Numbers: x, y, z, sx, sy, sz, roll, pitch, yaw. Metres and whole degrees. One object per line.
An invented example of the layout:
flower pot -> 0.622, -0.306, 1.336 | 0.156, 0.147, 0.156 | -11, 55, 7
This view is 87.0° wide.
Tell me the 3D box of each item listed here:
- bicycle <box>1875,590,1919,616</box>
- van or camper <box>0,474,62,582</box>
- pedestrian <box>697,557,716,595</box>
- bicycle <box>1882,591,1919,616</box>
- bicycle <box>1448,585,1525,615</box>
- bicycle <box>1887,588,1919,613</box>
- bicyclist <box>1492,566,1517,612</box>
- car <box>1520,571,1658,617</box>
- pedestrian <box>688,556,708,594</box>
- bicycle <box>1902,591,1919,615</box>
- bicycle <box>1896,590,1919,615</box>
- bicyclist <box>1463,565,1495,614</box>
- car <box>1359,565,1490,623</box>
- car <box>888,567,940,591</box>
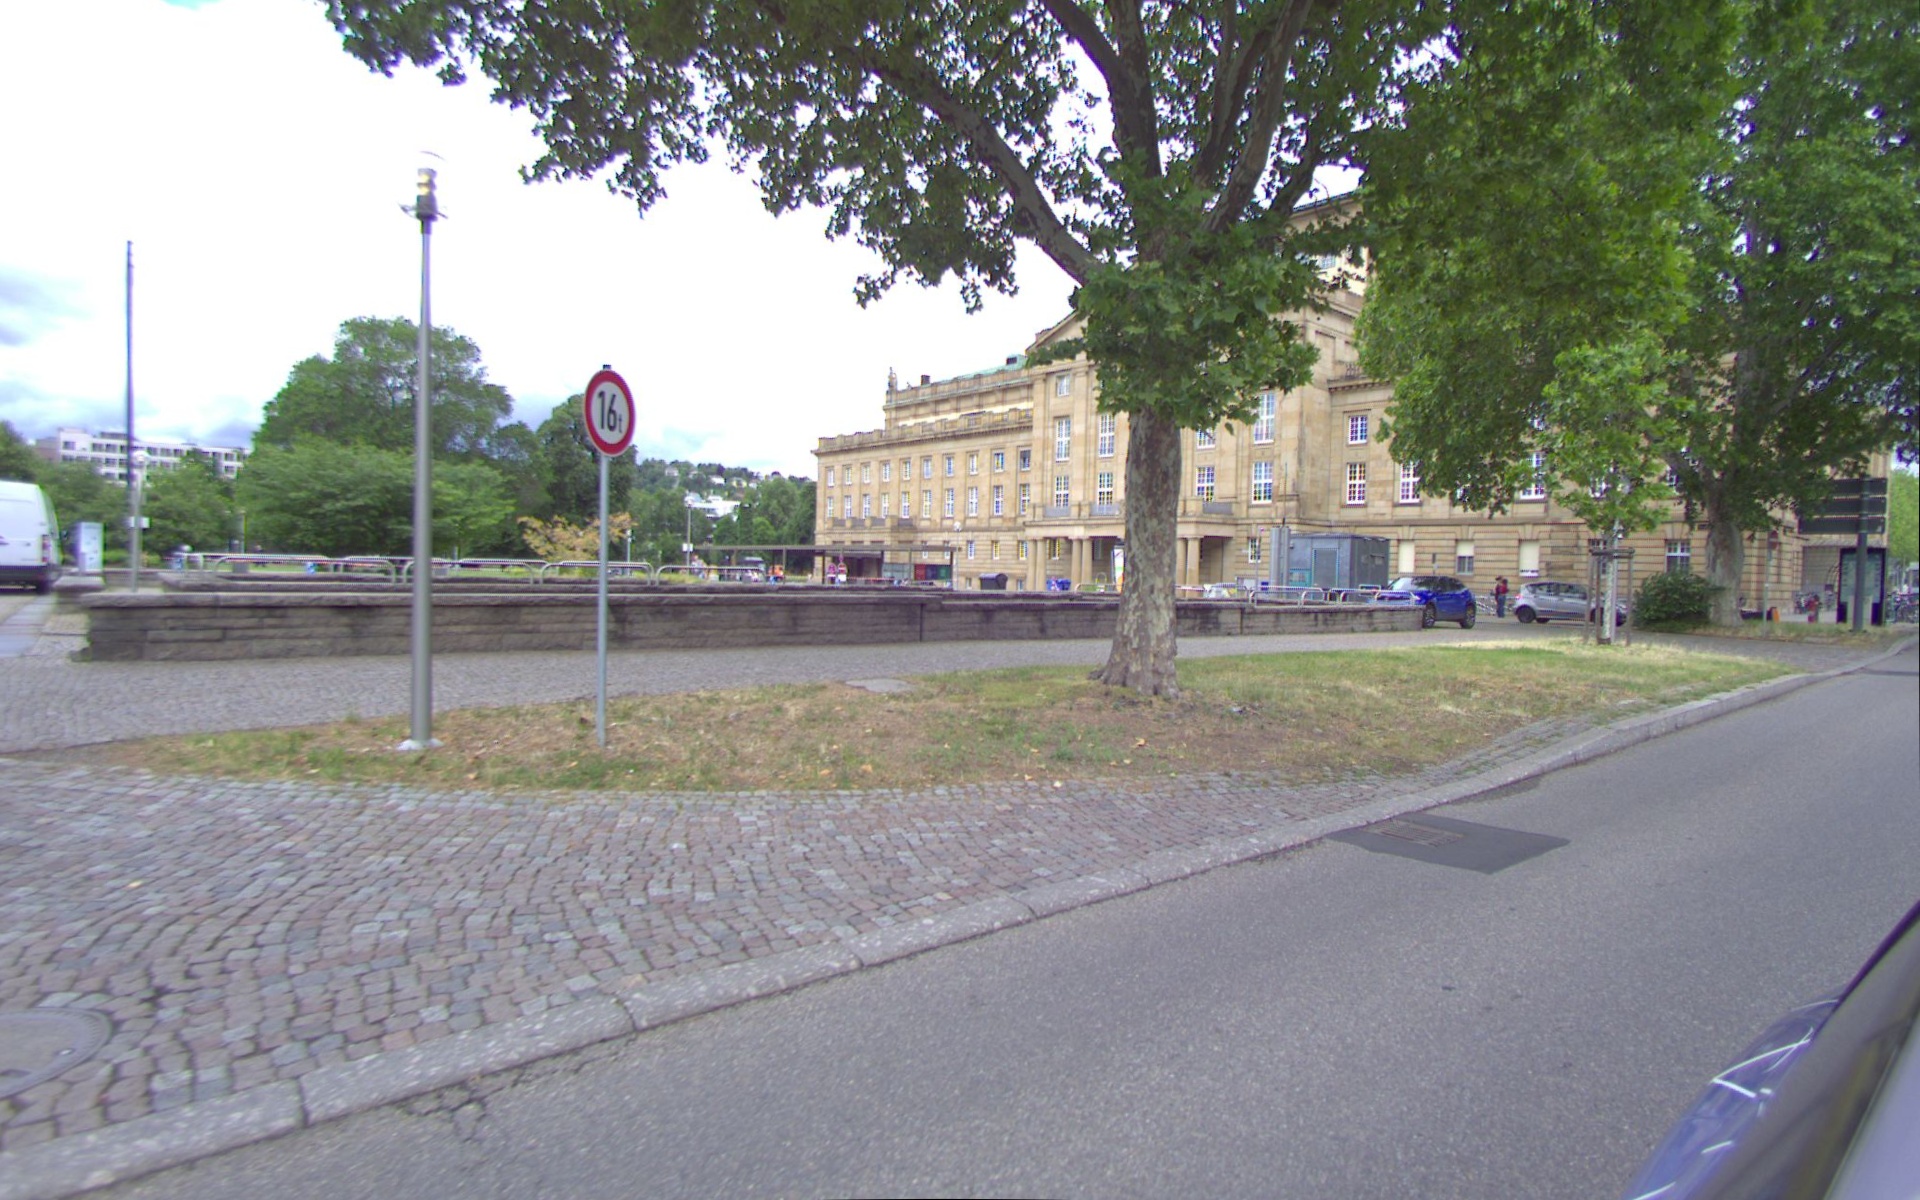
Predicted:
bicycle -> 41.473, 0.134, 44.398 | 1.912, 1.112, 0.533 | 2, 2, 42
van or camper -> -23.044, -1.613, 24.046 | 2.280, 2.348, 5.709 | -2, 2, -40
pedestrian -> -13.821, -1.292, 55.213 | 0.799, 2.039, 0.768 | -2, 1, -30
bicycle -> 42.046, 0.157, 44.750 | 1.834, 1.085, 0.610 | 2, 2, 42
bicycle -> 22.648, -0.033, 43.560 | 2.824, 1.199, 1.085 | 2, 2, 34
bicycle -> 44.468, 0.024, 47.037 | 1.921, 1.146, 0.535 | 2, 1, 30
bicyclist -> 24.315, -0.502, 45.170 | 0.869, 2.039, 0.837 | -1, 0, 24
car -> 23.087, -0.223, 37.270 | 1.705, 1.616, 3.993 | -1, 1, -41
pedestrian -> -14.455, -1.389, 55.847 | 0.799, 2.039, 0.860 | -2, 1, -28
bicycle -> 43.122, 0.151, 44.941 | 1.834, 1.085, 0.524 | 2, 2, 42
bicycle -> 43.640, 0.124, 45.766 | 1.825, 1.085, 0.526 | 2, 1, 30
bicyclist -> 22.414, -0.456, 43.716 | 1.096, 2.039, 1.000 | 1, 0, 34
car -> 13.565, -0.168, 29.445 | 4.141, 1.537, 1.768 | 1, 1, -39
car -> -3.599, -1.634, 78.231 | 1.965, 1.738, 3.994 | -1, 1, -40
